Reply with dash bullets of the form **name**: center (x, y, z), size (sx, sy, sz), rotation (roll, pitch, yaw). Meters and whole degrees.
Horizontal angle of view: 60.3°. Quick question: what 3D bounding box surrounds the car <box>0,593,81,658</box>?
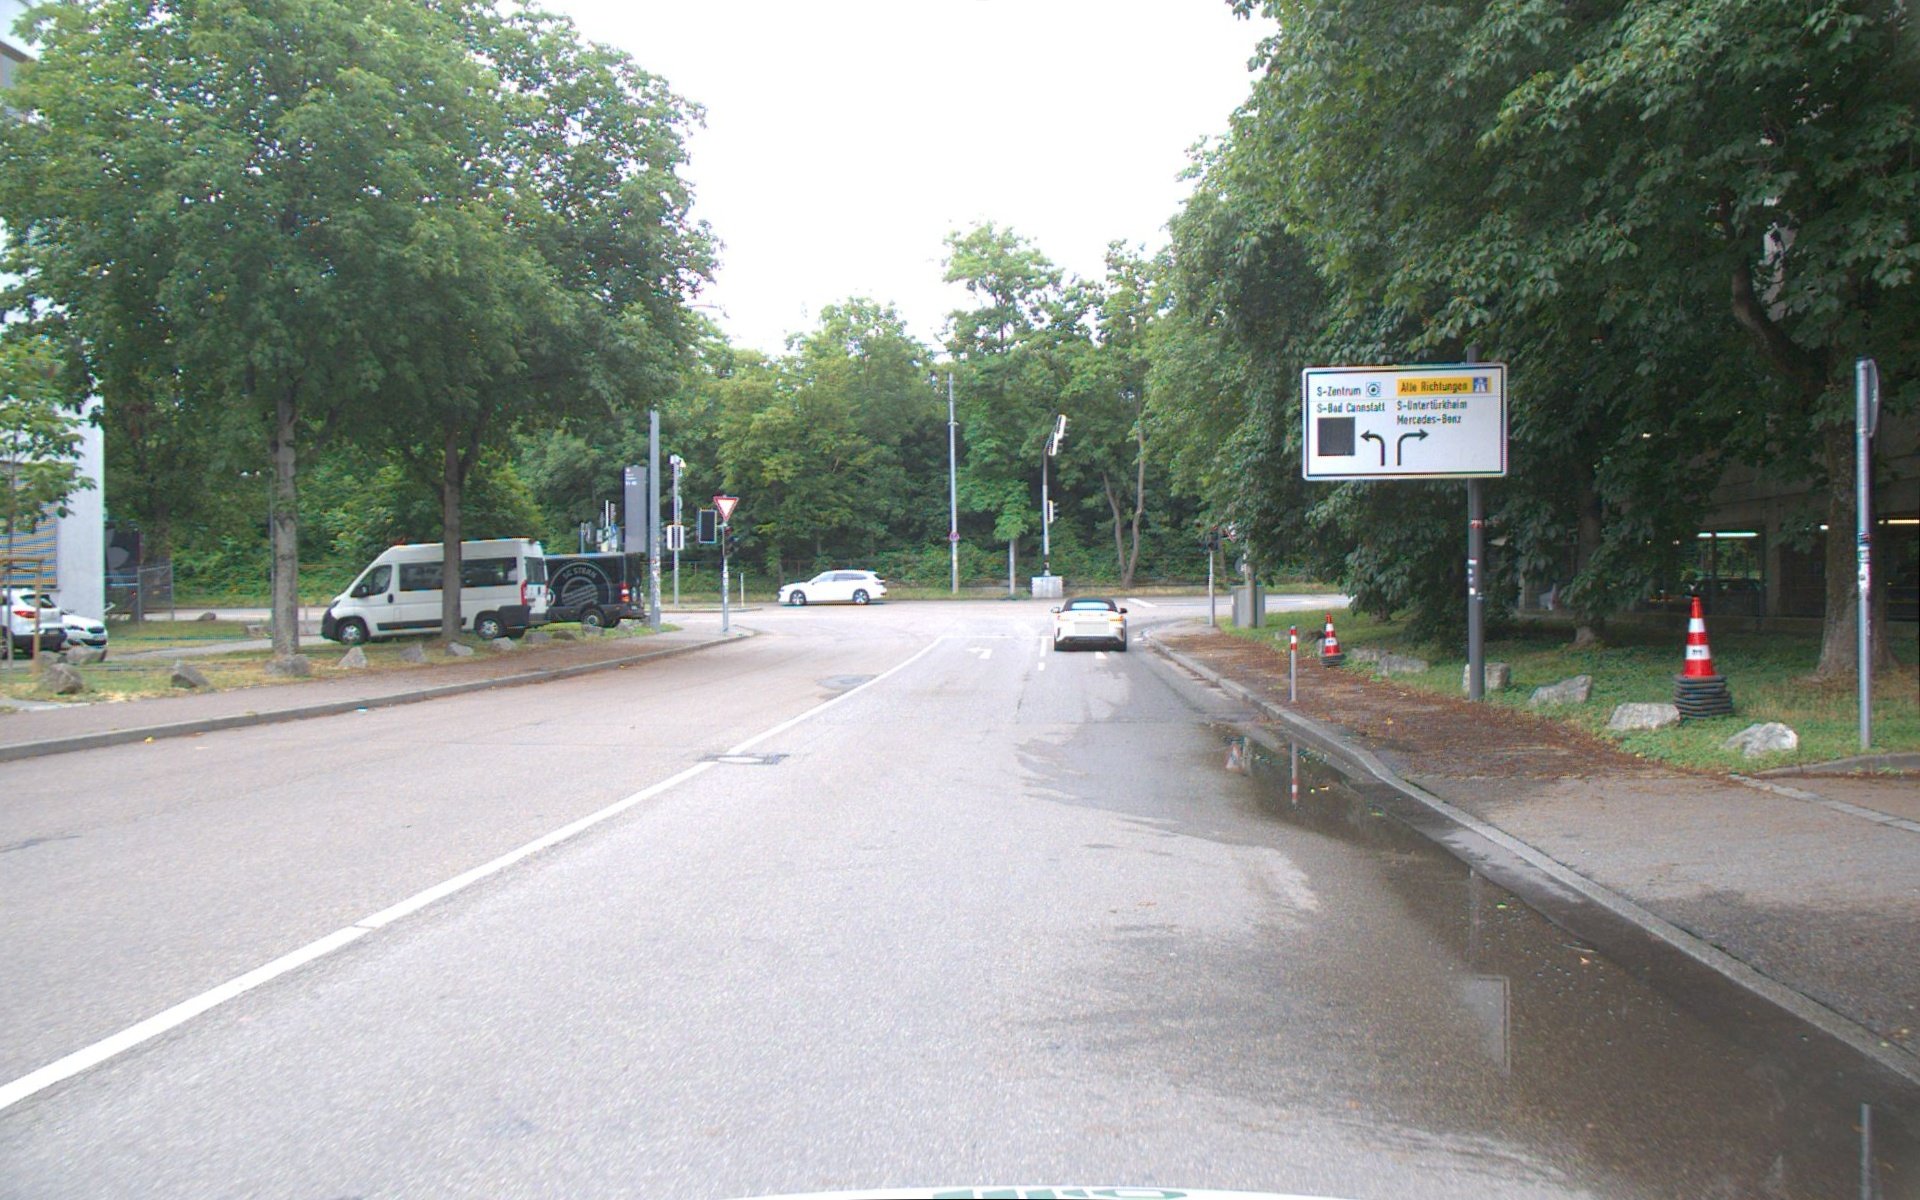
- **car**: center (-23.204, 0.592, 38.972), size (3.917, 1.481, 1.899), rotation (0, -1, -1)

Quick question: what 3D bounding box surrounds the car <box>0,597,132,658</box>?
- **car**: center (-23.225, 0.694, 41.497), size (3.917, 1.481, 1.899), rotation (0, -1, -1)

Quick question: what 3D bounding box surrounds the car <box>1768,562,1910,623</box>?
- **car**: center (23.936, -0.174, 45.204), size (1.952, 1.579, 4.001), rotation (0, -1, 4)

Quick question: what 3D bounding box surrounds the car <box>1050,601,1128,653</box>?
- **car**: center (3.285, 0.699, 42.675), size (1.789, 1.279, 4.000), rotation (0, -1, 2)

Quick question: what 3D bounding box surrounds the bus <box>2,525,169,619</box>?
- **bus**: center (-38.574, -1.224, 73.048), size (6.088, 4.027, 2.351), rotation (0, -1, 3)

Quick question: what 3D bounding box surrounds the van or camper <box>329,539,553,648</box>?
- **van or camper**: center (-12.857, -0.152, 41.219), size (4.867, 2.615, 2.062), rotation (0, -1, 1)

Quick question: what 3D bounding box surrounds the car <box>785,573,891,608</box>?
- **car**: center (-5.402, -0.402, 73.567), size (4.578, 1.481, 1.899), rotation (0, -1, -1)

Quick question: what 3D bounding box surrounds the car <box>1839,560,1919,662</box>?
- **car**: center (20.291, 0.253, 34.216), size (1.952, 2.049, 4.676), rotation (0, -1, 3)

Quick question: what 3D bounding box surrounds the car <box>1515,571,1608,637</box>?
- **car**: center (16.618, 0.145, 45.846), size (1.449, 1.738, 3.721), rotation (0, -1, 4)

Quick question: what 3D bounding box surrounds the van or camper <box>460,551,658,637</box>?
- **van or camper**: center (-12.244, -0.162, 50.684), size (5.419, 2.354, 2.063), rotation (-2, -1, 5)

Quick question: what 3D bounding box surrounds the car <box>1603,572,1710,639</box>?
- **car**: center (18.937, 0.168, 45.115), size (1.547, 1.738, 3.771), rotation (0, -1, 4)
